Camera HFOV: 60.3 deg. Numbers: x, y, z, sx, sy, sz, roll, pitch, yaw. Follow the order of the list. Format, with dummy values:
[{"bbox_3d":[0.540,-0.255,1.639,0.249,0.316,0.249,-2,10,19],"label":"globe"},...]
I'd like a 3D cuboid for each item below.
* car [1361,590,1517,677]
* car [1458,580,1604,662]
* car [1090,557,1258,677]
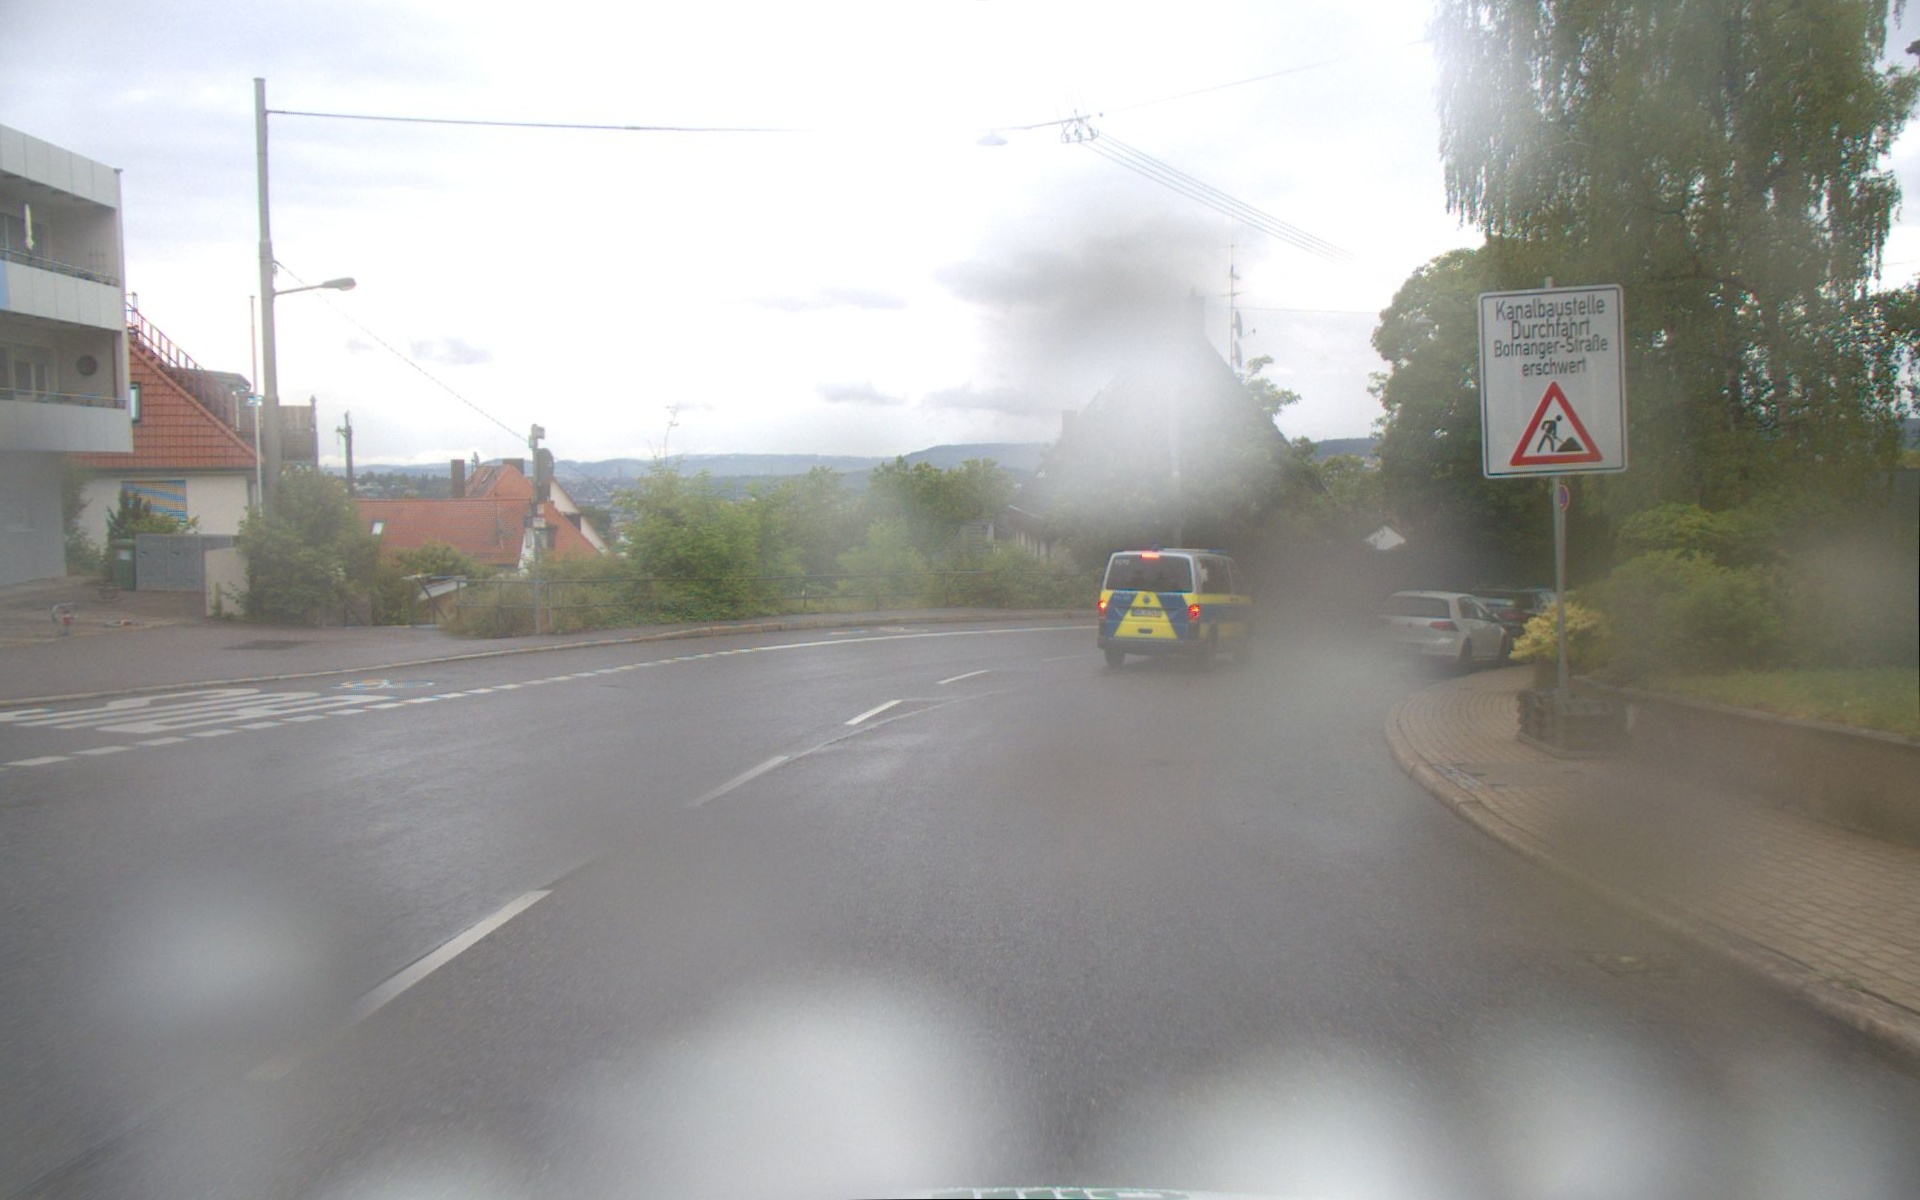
[{"bbox_3d":[8.949,0.570,30.688,1.757,1.471,4.096,1,1,32],"label":"car"},{"bbox_3d":[12.224,0.392,35.255,1.599,1.545,4.306,1,2,39],"label":"car"},{"bbox_3d":[3.862,0.246,29.153,1.952,1.926,4.571,1,1,20],"label":"car"}]
